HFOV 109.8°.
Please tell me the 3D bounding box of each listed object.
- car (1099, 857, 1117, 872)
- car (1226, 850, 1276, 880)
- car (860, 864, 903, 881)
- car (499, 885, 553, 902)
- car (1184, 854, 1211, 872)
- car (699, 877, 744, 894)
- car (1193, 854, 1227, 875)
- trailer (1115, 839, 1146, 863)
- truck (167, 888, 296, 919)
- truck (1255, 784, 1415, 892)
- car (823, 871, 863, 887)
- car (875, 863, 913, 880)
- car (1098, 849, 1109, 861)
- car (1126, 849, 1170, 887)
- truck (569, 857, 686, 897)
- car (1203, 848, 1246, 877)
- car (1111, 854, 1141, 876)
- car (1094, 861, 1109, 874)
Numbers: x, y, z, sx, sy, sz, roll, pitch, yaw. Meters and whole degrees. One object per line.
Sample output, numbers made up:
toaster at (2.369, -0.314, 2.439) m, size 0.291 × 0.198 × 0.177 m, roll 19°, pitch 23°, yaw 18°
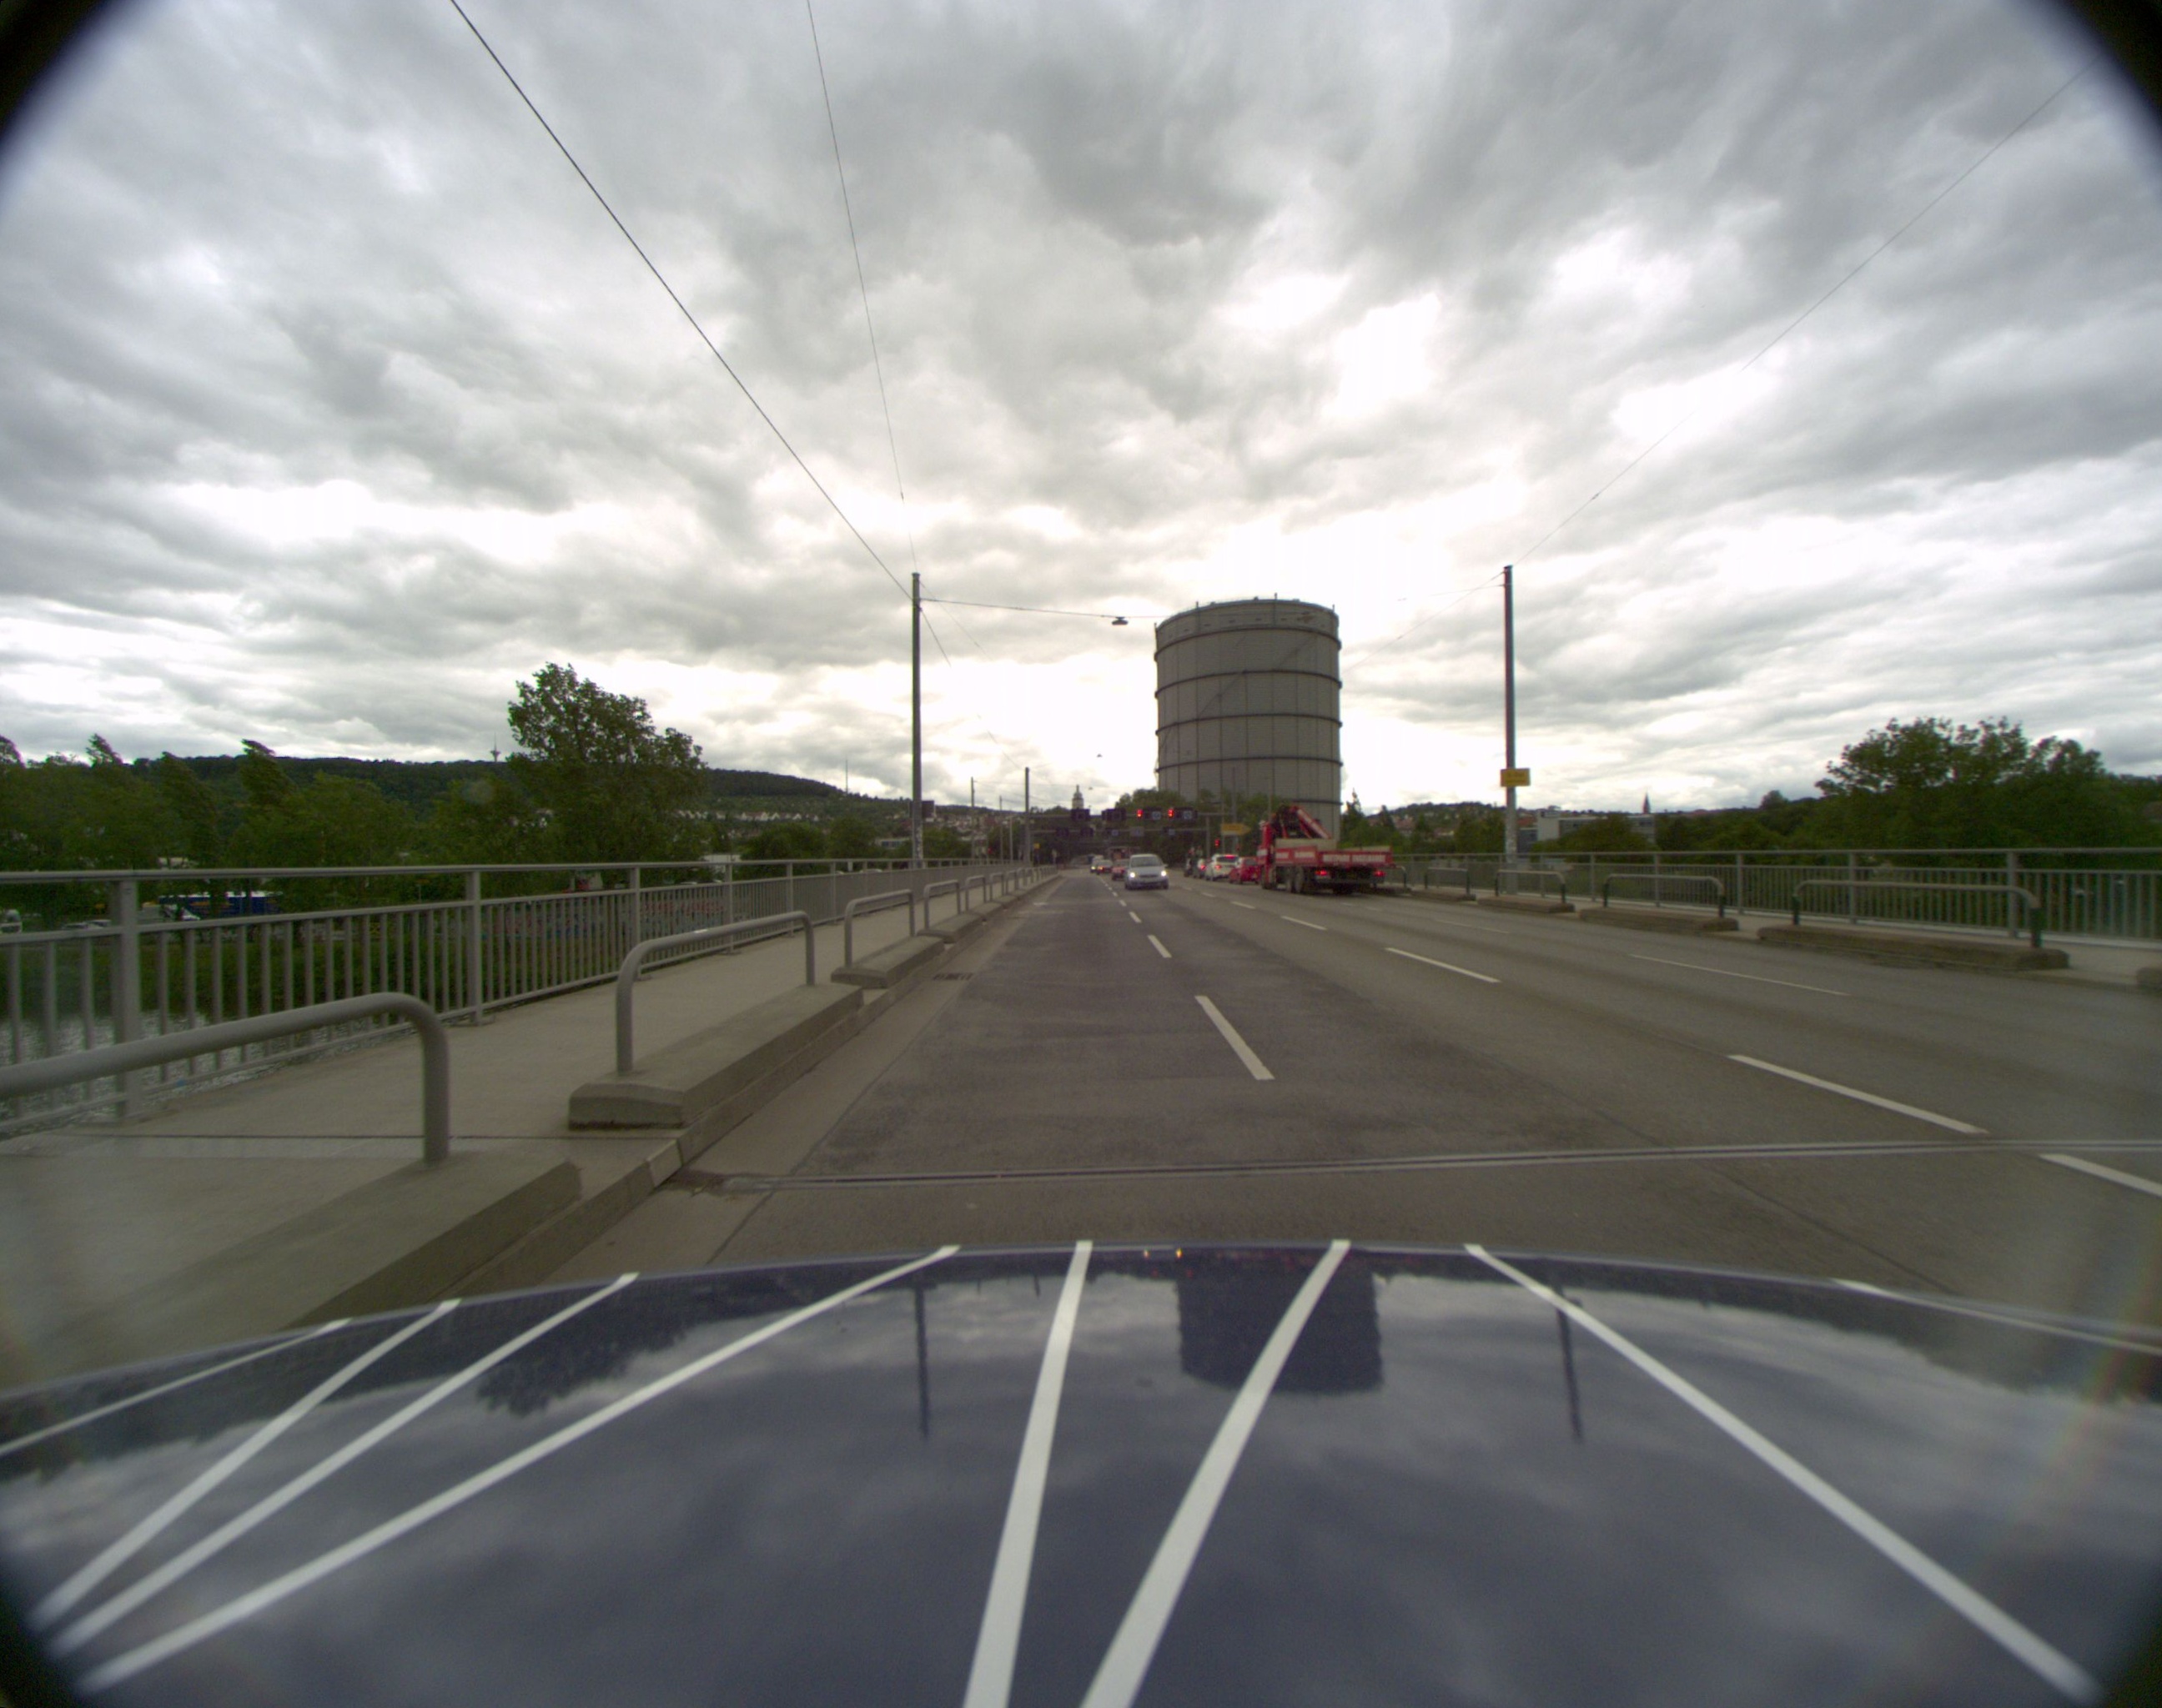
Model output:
car at (2.730, 1.079, 76.760) m, size 1.696 × 1.411 × 4.468 m, roll -1°, pitch 0°, yaw 1°
car at (9.358, 0.592, 42.028) m, size 1.884 × 1.593 × 4.015 m, roll 0°, pitch 0°, yaw 0°
car at (-22.582, 2.043, 86.174) m, size 4.339 × 1.610 × 1.999 m, roll -3°, pitch 1°, yaw 0°
car at (-61.712, 4.381, 84.522) m, size 4.390 × 1.531 × 1.921 m, roll -3°, pitch 1°, yaw -1°
car at (9.906, 0.737, 64.750) m, size 1.840 × 1.495 × 3.871 m, roll 0°, pitch 0°, yaw 2°
car at (-39.043, 3.425, 82.560) m, size 4.045 × 1.531 × 1.695 m, roll -3°, pitch 1°, yaw -1°
car at (9.657, 0.782, 57.186) m, size 1.840 × 1.495 × 4.517 m, roll 0°, pitch 0°, yaw 0°
trailer at (9.236, -0.454, 143.745) m, size 3.670 × 4.295 × 13.777 m, roll 2°, pitch 0°, yaw -4°
truck at (-121.407, 7.077, 108.719) m, size 14.418 × 3.893 × 3.381 m, roll 1°, pitch 0°, yaw 0°
truck at (9.439, -0.492, 29.857) m, size 3.013 × 3.544 × 9.982 m, roll 0°, pitch 0°, yaw 0°
car at (-26.025, 2.725, 83.122) m, size 3.757 × 1.531 × 1.695 m, roll -3°, pitch 1°, yaw -1°
car at (-20.469, 1.905, 83.188) m, size 3.621 × 1.531 × 1.695 m, roll -3°, pitch 1°, yaw -1°
car at (4.807, 0.270, 163.195) m, size 2.331 × 2.509 × 4.949 m, roll 1°, pitch 0°, yaw 1°
car at (2.999, 0.609, 34.652) m, size 1.747 × 1.594 × 3.683 m, roll -2°, pitch 0°, yaw 2°
truck at (-49.024, 2.455, 82.384) m, size 10.423 × 3.856 × 3.226 m, roll -2°, pitch 0°, yaw -3°
car at (9.227, 0.542, 49.229) m, size 1.884 × 1.751 × 4.803 m, roll 0°, pitch 0°, yaw 0°
car at (3.059, 0.722, 52.485) m, size 1.747 × 1.454 × 3.954 m, roll 0°, pitch 0°, yaw -2°
car at (2.454, 1.634, 91.717) m, size 1.696 × 1.411 × 4.468 m, roll 1°, pitch 0°, yaw 1°
